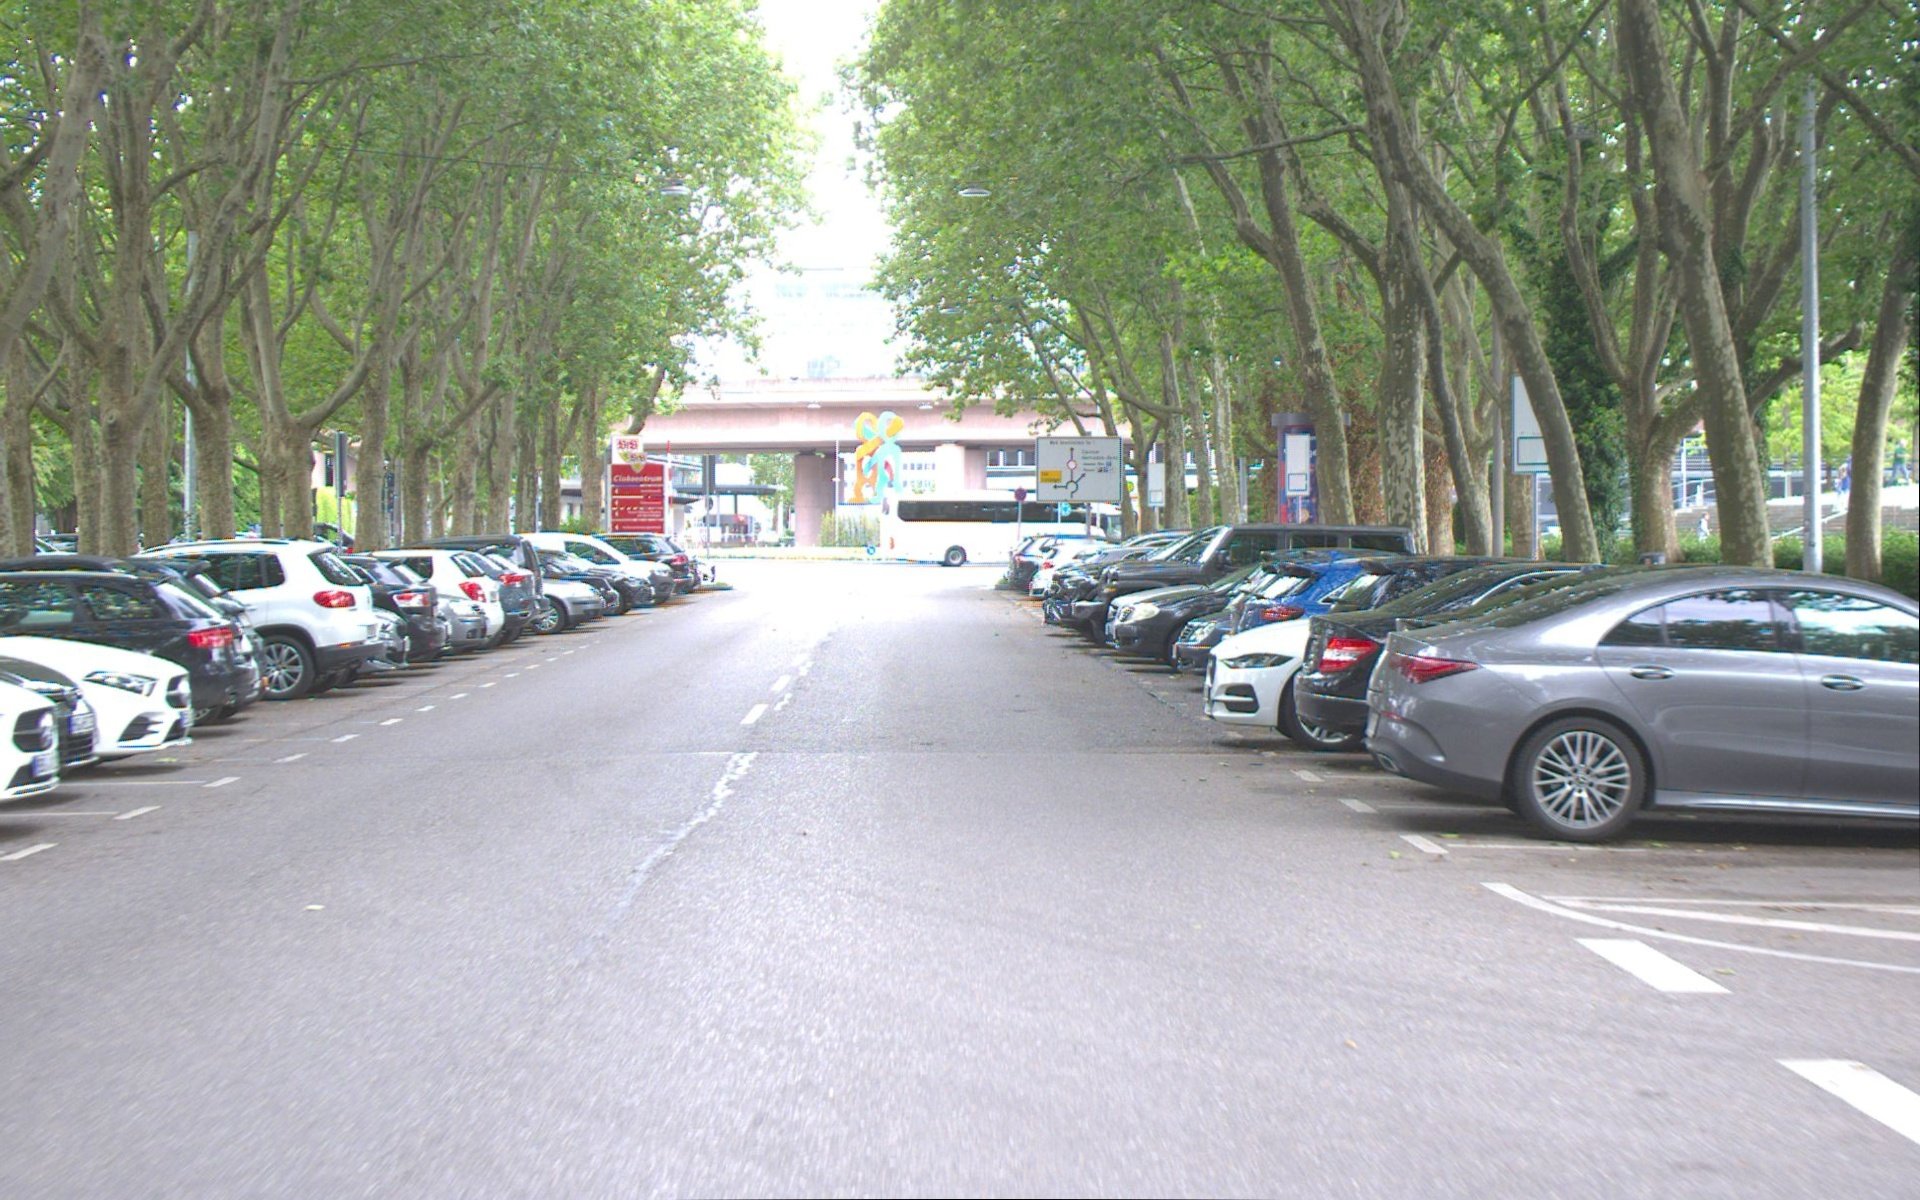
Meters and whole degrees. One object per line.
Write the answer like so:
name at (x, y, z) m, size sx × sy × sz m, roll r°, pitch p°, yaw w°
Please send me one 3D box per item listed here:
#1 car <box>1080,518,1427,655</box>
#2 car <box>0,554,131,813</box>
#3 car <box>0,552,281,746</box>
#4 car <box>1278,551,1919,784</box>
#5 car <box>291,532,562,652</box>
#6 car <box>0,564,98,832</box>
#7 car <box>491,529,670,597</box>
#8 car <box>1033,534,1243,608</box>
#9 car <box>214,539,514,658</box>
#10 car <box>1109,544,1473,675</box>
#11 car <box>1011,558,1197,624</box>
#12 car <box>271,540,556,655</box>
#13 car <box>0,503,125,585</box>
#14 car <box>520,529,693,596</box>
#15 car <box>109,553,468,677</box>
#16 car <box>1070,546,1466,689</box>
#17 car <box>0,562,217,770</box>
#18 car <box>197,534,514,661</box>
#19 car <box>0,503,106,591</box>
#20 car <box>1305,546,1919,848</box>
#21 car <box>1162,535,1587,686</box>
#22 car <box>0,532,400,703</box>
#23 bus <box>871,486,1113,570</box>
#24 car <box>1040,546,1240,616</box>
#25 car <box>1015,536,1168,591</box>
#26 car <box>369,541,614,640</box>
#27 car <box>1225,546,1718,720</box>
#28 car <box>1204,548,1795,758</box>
car at (3.874, -0.197, 45.823) m, size 4.376 × 1.745 × 1.731 m, roll 1°, pitch 1°, yaw -3°
car at (-7.208, 0.542, 20.949) m, size 3.814 × 1.479 × 1.662 m, roll -2°, pitch 1°, yaw 4°
car at (-7.777, 0.424, 28.618) m, size 3.814 × 1.479 × 1.662 m, roll -2°, pitch 1°, yaw 5°
car at (4.267, 0.423, 23.157) m, size 4.176 × 1.437 × 1.731 m, roll 1°, pitch 1°, yaw 4°
car at (-8.252, -0.143, 53.369) m, size 3.814 × 1.684 × 1.686 m, roll -2°, pitch 1°, yaw 5°
car at (-6.771, 0.567, 18.381) m, size 3.814 × 1.349 × 1.662 m, roll -2°, pitch 1°, yaw 5°
car at (-8.607, -0.852, 78.163) m, size 3.814 × 1.510 × 1.686 m, roll 1°, pitch 1°, yaw 2°
car at (3.838, -0.639, 74.564) m, size 4.376 × 1.517 × 1.731 m, roll 1°, pitch 1°, yaw -3°
car at (-8.396, -0.032, 48.603) m, size 3.814 × 1.510 × 1.686 m, roll -2°, pitch 1°, yaw 5°
car at (3.882, 0.102, 40.714) m, size 4.048 × 1.463 × 1.731 m, roll 1°, pitch 1°, yaw -3°
car at (3.427, -0.224, 82.613) m, size 4.376 × 1.517 × 1.731 m, roll 1°, pitch 1°, yaw 0°
car at (-8.049, -0.047, 50.773) m, size 3.814 × 1.510 × 1.686 m, roll -2°, pitch 1°, yaw 5°
car at (-24.121, -1.459, 87.680) m, size 5.078 × 2.008 × 2.175 m, roll 1°, pitch 1°, yaw 3°
car at (-8.269, -0.889, 80.559) m, size 3.814 × 1.510 × 1.686 m, roll 1°, pitch 1°, yaw 2°
car at (-7.974, 0.169, 41.029) m, size 3.814 × 1.292 × 1.785 m, roll -2°, pitch 1°, yaw 5°
car at (3.298, 0.171, 37.322) m, size 4.048 × 1.463 × 1.731 m, roll 1°, pitch 1°, yaw -3°
car at (-7.259, 0.481, 23.681) m, size 3.814 × 1.326 × 1.662 m, roll -2°, pitch 1°, yaw 5°
car at (-8.049, -0.046, 45.969) m, size 3.814 × 1.510 × 1.686 m, roll -2°, pitch 1°, yaw 5°
car at (-22.879, -1.274, 80.710) m, size 5.078 × 2.008 × 2.175 m, roll 1°, pitch 1°, yaw 3°
car at (4.190, 0.486, 18.440) m, size 4.575 × 1.481 × 2.000 m, roll 1°, pitch 1°, yaw 4°
car at (4.187, 0.090, 35.118) m, size 4.048 × 1.463 × 1.731 m, roll 1°, pitch 1°, yaw -3°
car at (-7.959, 0.163, 35.874) m, size 3.814 × 1.597 × 1.785 m, roll -2°, pitch 1°, yaw 5°
bus at (1.561, -3.539, 169.242) m, size 11.570 × 3.957 × 2.455 m, roll -1°, pitch 0°, yaw -12°
car at (4.100, -0.447, 78.643) m, size 4.376 × 1.517 × 1.731 m, roll 1°, pitch 1°, yaw -3°
car at (3.802, -1.061, 99.938) m, size 4.376 × 1.517 × 1.731 m, roll 1°, pitch 1°, yaw 0°
car at (-7.979, -0.174, 58.745) m, size 3.814 × 1.510 × 1.686 m, roll -2°, pitch 1°, yaw 5°
car at (4.456, 0.268, 30.449) m, size 4.176 × 1.437 × 1.731 m, roll 1°, pitch 1°, yaw 4°
car at (3.915, 0.366, 25.520) m, size 4.176 × 1.437 × 1.731 m, roll 1°, pitch 1°, yaw 4°
